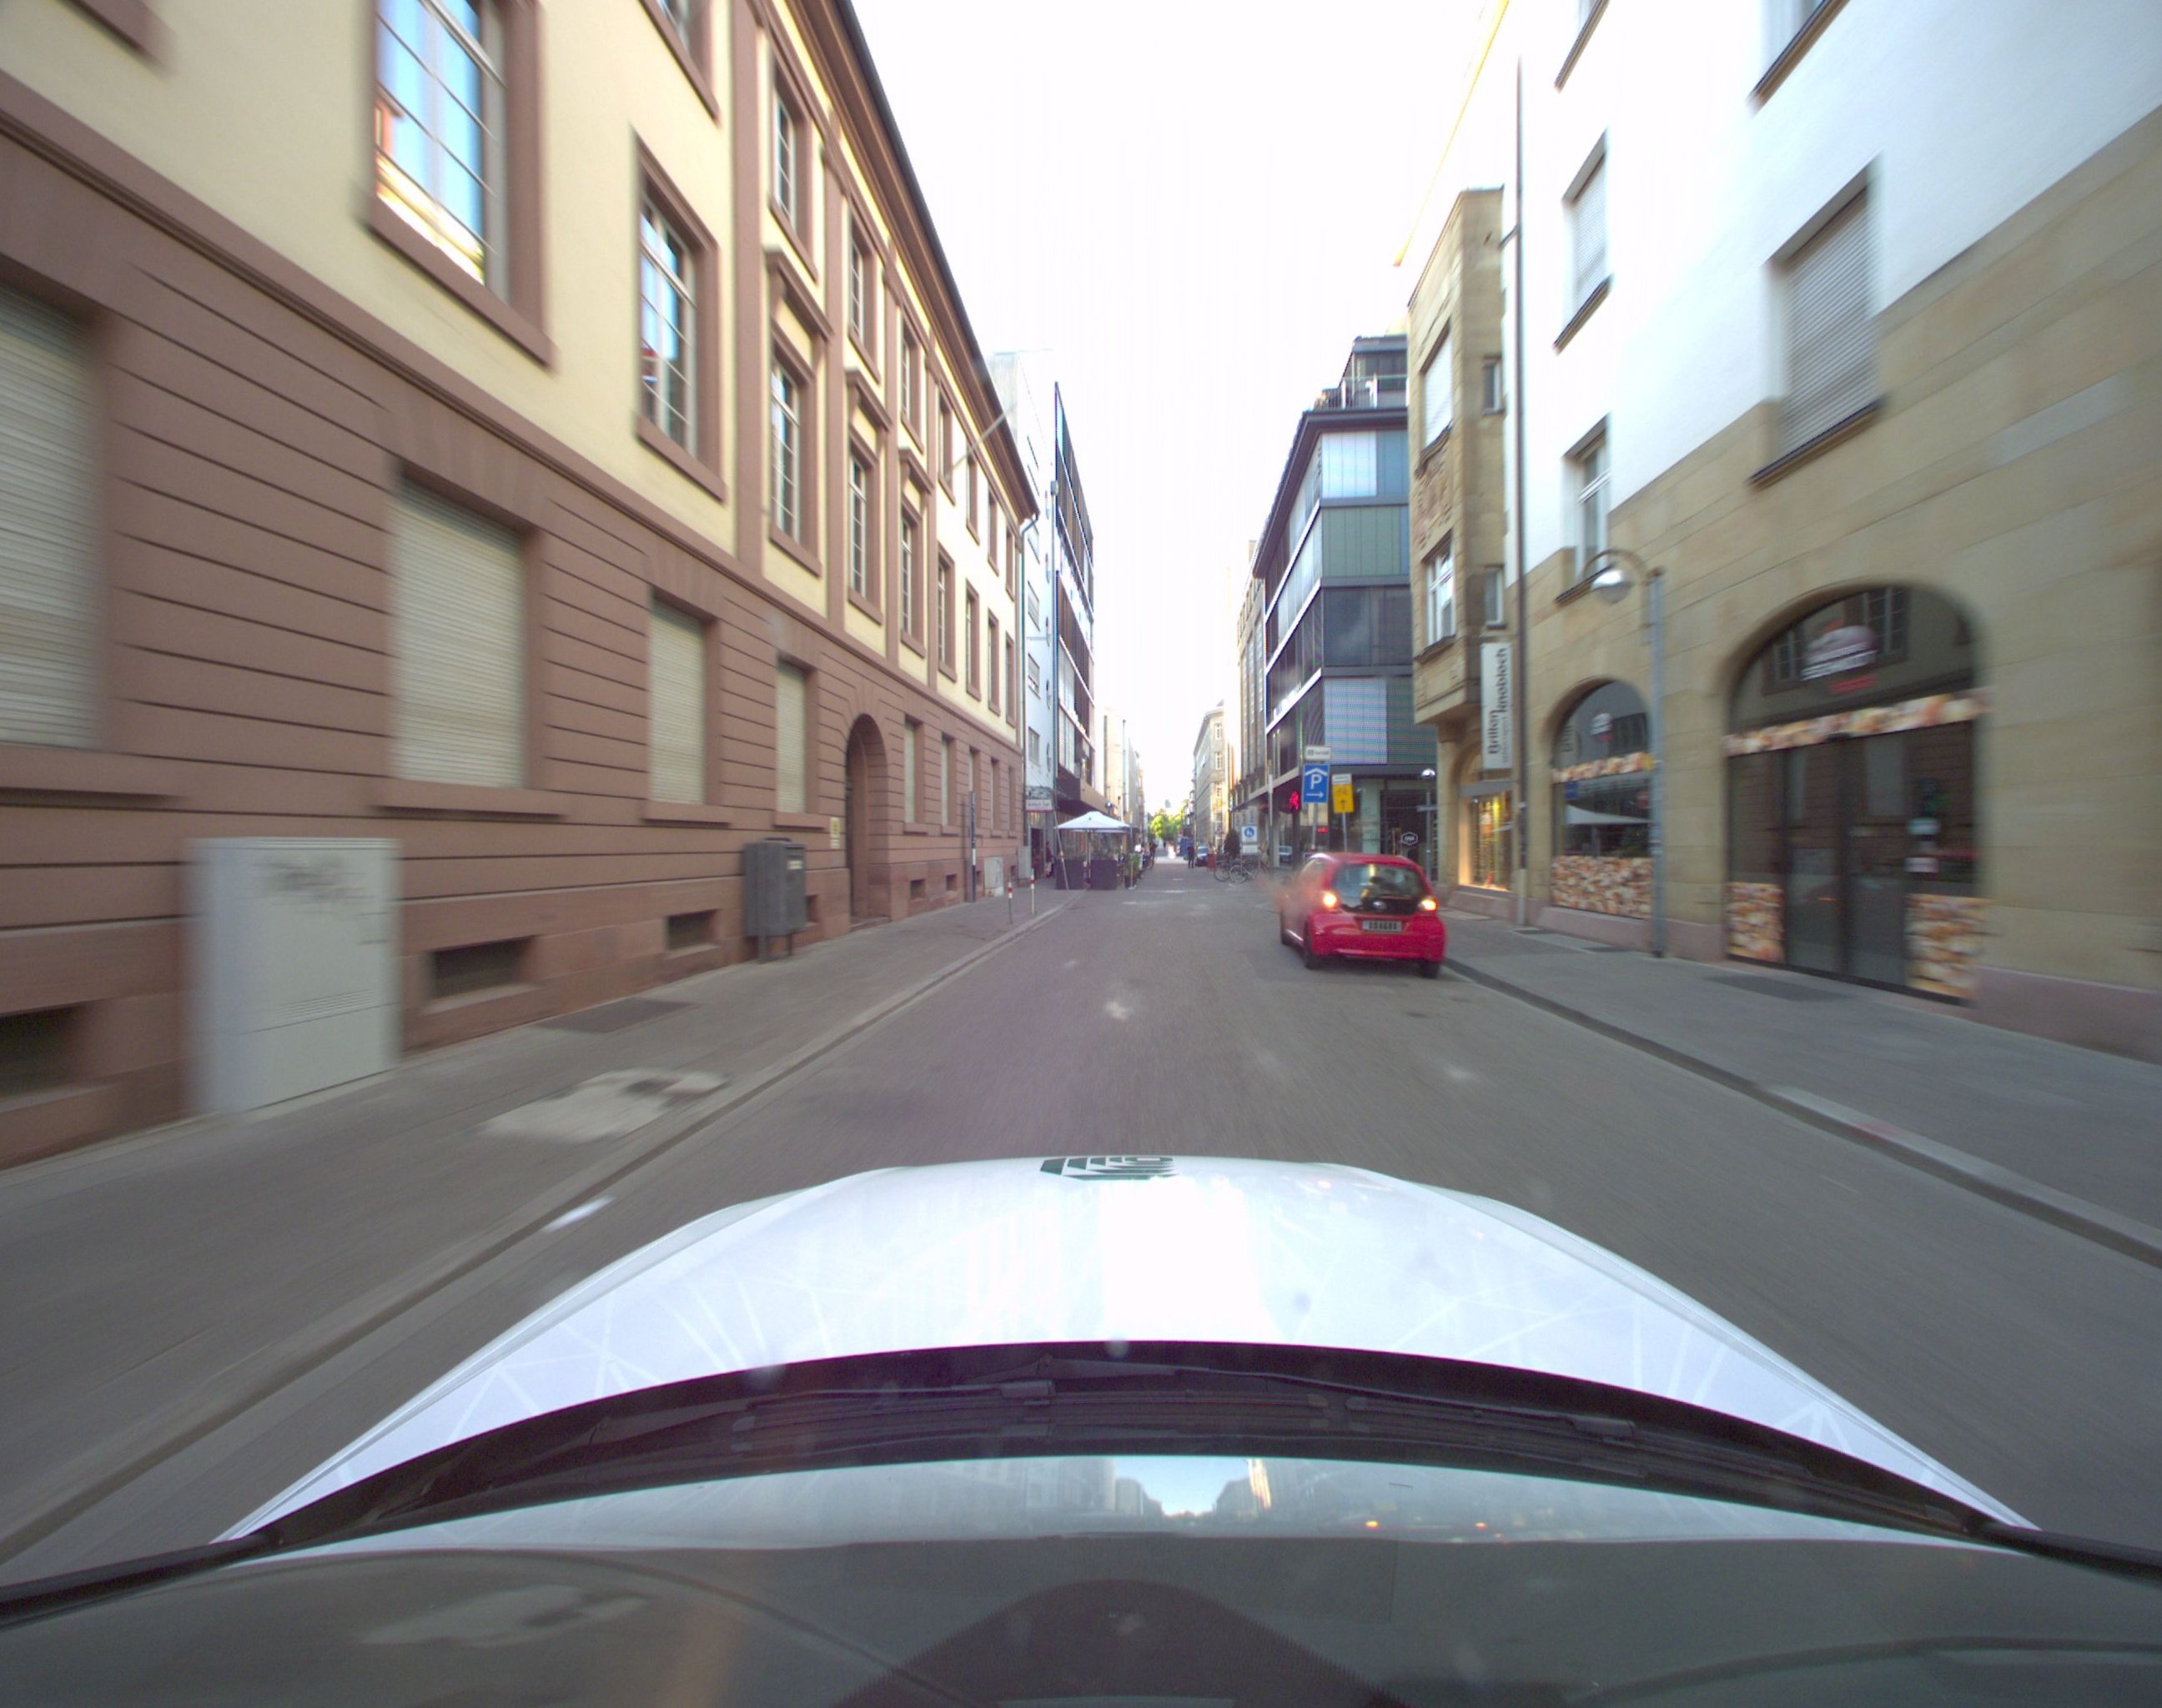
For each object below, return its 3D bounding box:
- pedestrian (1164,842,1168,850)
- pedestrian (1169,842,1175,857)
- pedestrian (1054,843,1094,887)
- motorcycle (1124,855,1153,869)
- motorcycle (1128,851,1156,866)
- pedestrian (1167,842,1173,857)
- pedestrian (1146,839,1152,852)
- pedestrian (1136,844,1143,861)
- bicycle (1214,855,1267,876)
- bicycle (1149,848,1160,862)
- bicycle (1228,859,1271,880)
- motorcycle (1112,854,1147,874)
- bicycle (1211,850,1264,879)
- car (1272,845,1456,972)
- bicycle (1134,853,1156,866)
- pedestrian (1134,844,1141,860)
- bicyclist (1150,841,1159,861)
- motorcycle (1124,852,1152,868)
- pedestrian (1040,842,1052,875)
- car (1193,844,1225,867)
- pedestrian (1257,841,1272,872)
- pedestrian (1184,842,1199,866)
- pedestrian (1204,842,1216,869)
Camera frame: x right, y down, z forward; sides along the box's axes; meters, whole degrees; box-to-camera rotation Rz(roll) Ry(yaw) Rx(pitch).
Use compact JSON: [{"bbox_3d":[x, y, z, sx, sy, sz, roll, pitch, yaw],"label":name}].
[{"bbox_3d":[17.349,-1.641,166.236,0.800,1.672,0.890,-1,0,7],"label":"pedestrian"},{"bbox_3d":[9.559,-0.455,85.458,0.600,1.623,0.530,0,0,7],"label":"pedestrian"},{"bbox_3d":[-0.240,0.364,27.516,1.285,1.487,0.662,0,0,3],"label":"pedestrian"},{"bbox_3d":[3.638,0.482,51.382,1.794,0.875,0.561,0,0,1],"label":"motorcycle"},{"bbox_3d":[4.060,0.299,54.044,1.794,0.989,0.561,0,0,1],"label":"motorcycle"},{"bbox_3d":[9.436,-0.479,86.100,0.600,1.623,0.627,0,0,7],"label":"pedestrian"},{"bbox_3d":[8.480,-1.121,102.111,0.675,1.623,0.627,0,0,7],"label":"pedestrian"},{"bbox_3d":[5.774,-0.164,80.352,0.603,1.623,0.528,0,0,-5],"label":"pedestrian"},{"bbox_3d":[6.980,0.512,35.716,2.192,0.905,0.649,0,0,2],"label":"bicycle"},{"bbox_3d":[6.165,0.075,68.300,0.635,1.157,2.499,0,0,-3],"label":"bicycle"},{"bbox_3d":[6.491,0.606,31.442,1.559,0.768,0.558,0,0,2],"label":"bicycle"},{"bbox_3d":[2.570,0.523,43.254,1.794,1.040,0.494,0,0,1],"label":"motorcycle"},{"bbox_3d":[6.324,0.432,33.010,2.044,1.134,0.649,0,0,2],"label":"bicycle"},{"bbox_3d":[3.744,0.624,11.360,1.641,1.427,3.542,2,1,6],"label":"car"},{"bbox_3d":[4.519,0.408,57.646,1.524,0.896,0.482,-1,0,-22],"label":"bicycle"},{"bbox_3d":[5.602,-0.189,81.017,0.603,1.623,0.528,0,0,-5],"label":"pedestrian"},{"bbox_3d":[6.168,-0.239,68.419,0.635,1.641,0.771,0,0,-3],"label":"bicyclist"},{"bbox_3d":[3.677,0.366,52.414,1.794,0.989,0.561,0,0,1],"label":"motorcycle"},{"bbox_3d":[-1.597,0.220,37.239,0.489,1.487,0.567,0,0,4],"label":"pedestrian"},{"bbox_3d":[9.407,0.065,60.210,1.984,1.611,4.005,0,0,4],"label":"car"},{"bbox_3d":[8.985,0.113,39.939,0.653,1.487,0.494,0,0,7],"label":"pedestrian"},{"bbox_3d":[7.780,-0.015,57.355,0.863,1.713,0.851,0,0,-3],"label":"pedestrian"},{"bbox_3d":[7.681,0.098,48.567,0.631,1.619,0.466,0,0,-4],"label":"pedestrian"}]
